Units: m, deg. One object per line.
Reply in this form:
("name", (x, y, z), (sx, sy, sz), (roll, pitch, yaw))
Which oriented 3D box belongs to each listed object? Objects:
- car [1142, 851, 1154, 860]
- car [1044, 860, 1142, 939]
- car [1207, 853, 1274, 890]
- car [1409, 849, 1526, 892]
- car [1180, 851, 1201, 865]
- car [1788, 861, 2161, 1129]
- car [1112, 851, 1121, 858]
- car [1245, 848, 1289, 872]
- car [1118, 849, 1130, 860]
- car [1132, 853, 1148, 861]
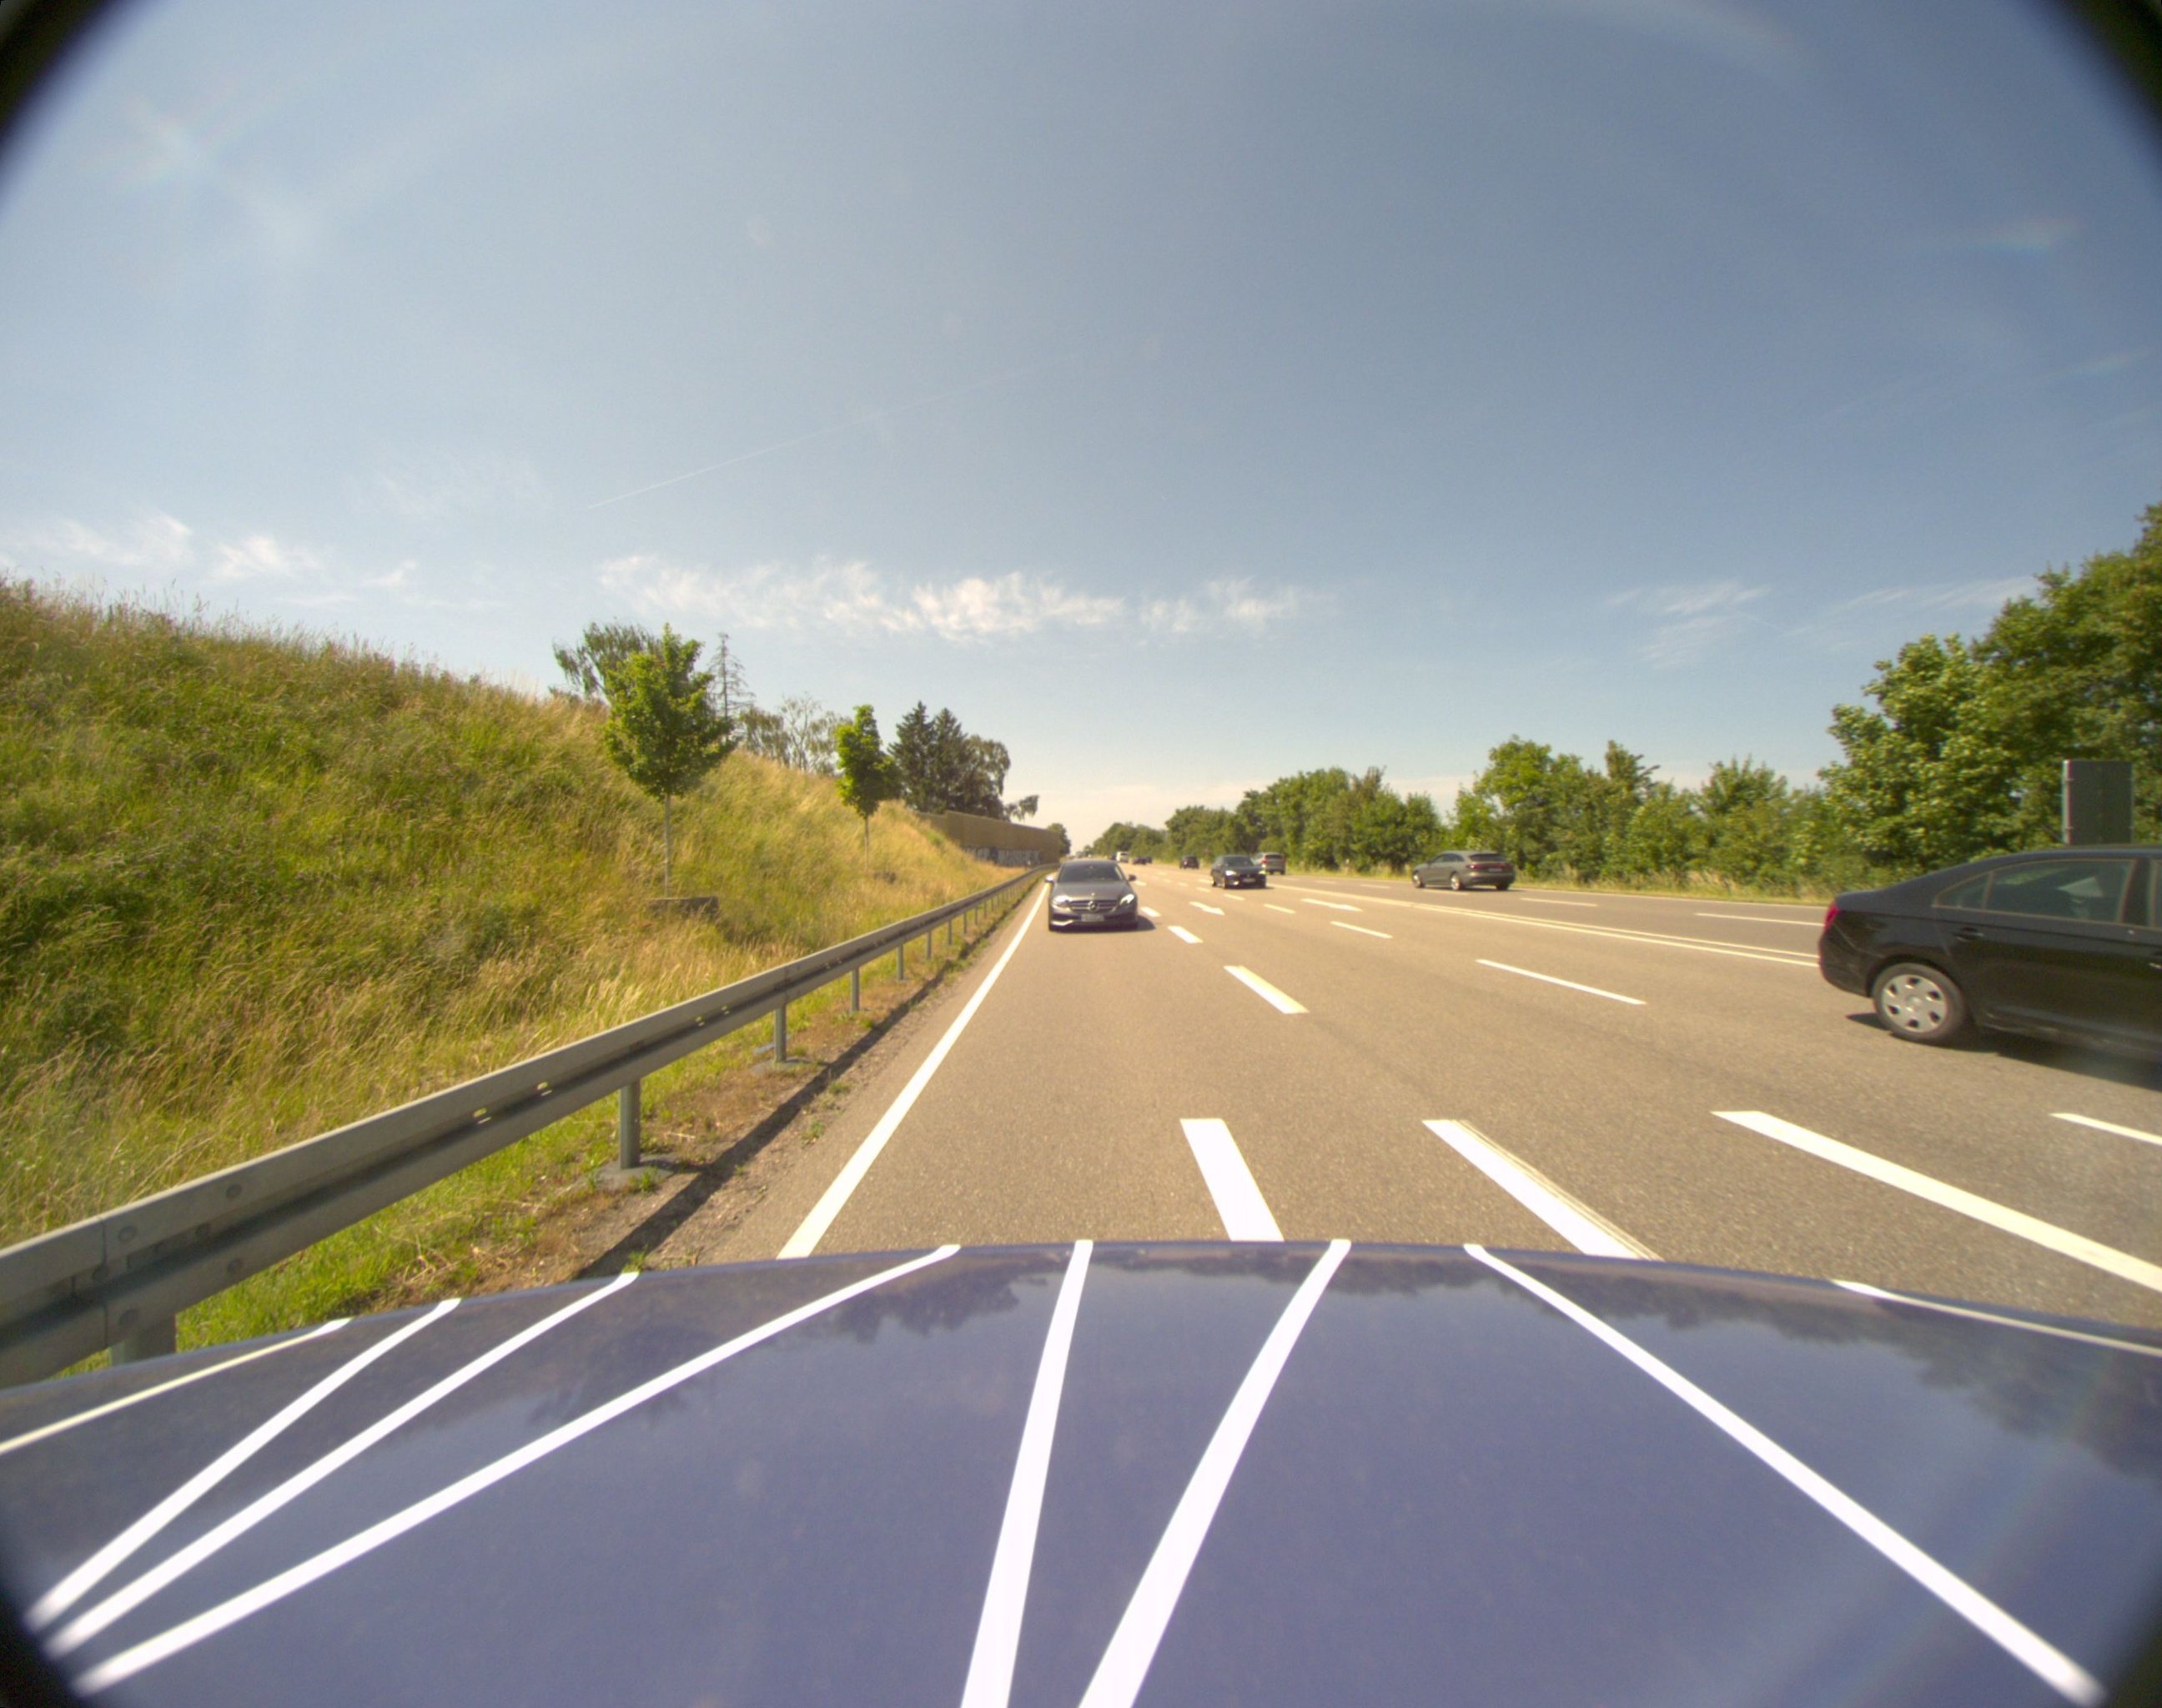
("car", (12.085, 0.308, 137.657), (1.526, 1.461, 3.787), (-2, 1, -3))
("car", (0.178, 0.910, 17.206), (1.894, 1.439, 4.524), (-2, 1, -2))
("car", (6.876, 0.703, 33.213), (1.894, 1.439, 4.525), (-2, 1, -1))
("car", (14.142, 0.552, 28.125), (1.883, 1.390, 4.530), (-2, 1, -2))
("car", (12.013, 0.418, 83.494), (1.649, 1.479, 3.558), (-2, 0, -2))
("car", (6.828, 0.803, 4.192), (1.679, 1.403, 4.466), (-2, 1, 0))
("car", (8.482, 0.106, 183.566), (1.893, 1.527, 4.525), (-2, 1, 1))
("car", (13.820, 0.435, 56.641), (2.033, 1.630, 4.568), (-2, 0, -2))
("car", (7.969, 0.071, 141.878), (1.910, 1.906, 5.051), (0, 0, 0))
("car", (9.098, 0.445, 116.571), (1.810, 1.272, 4.764), (-1, 0, -3))
